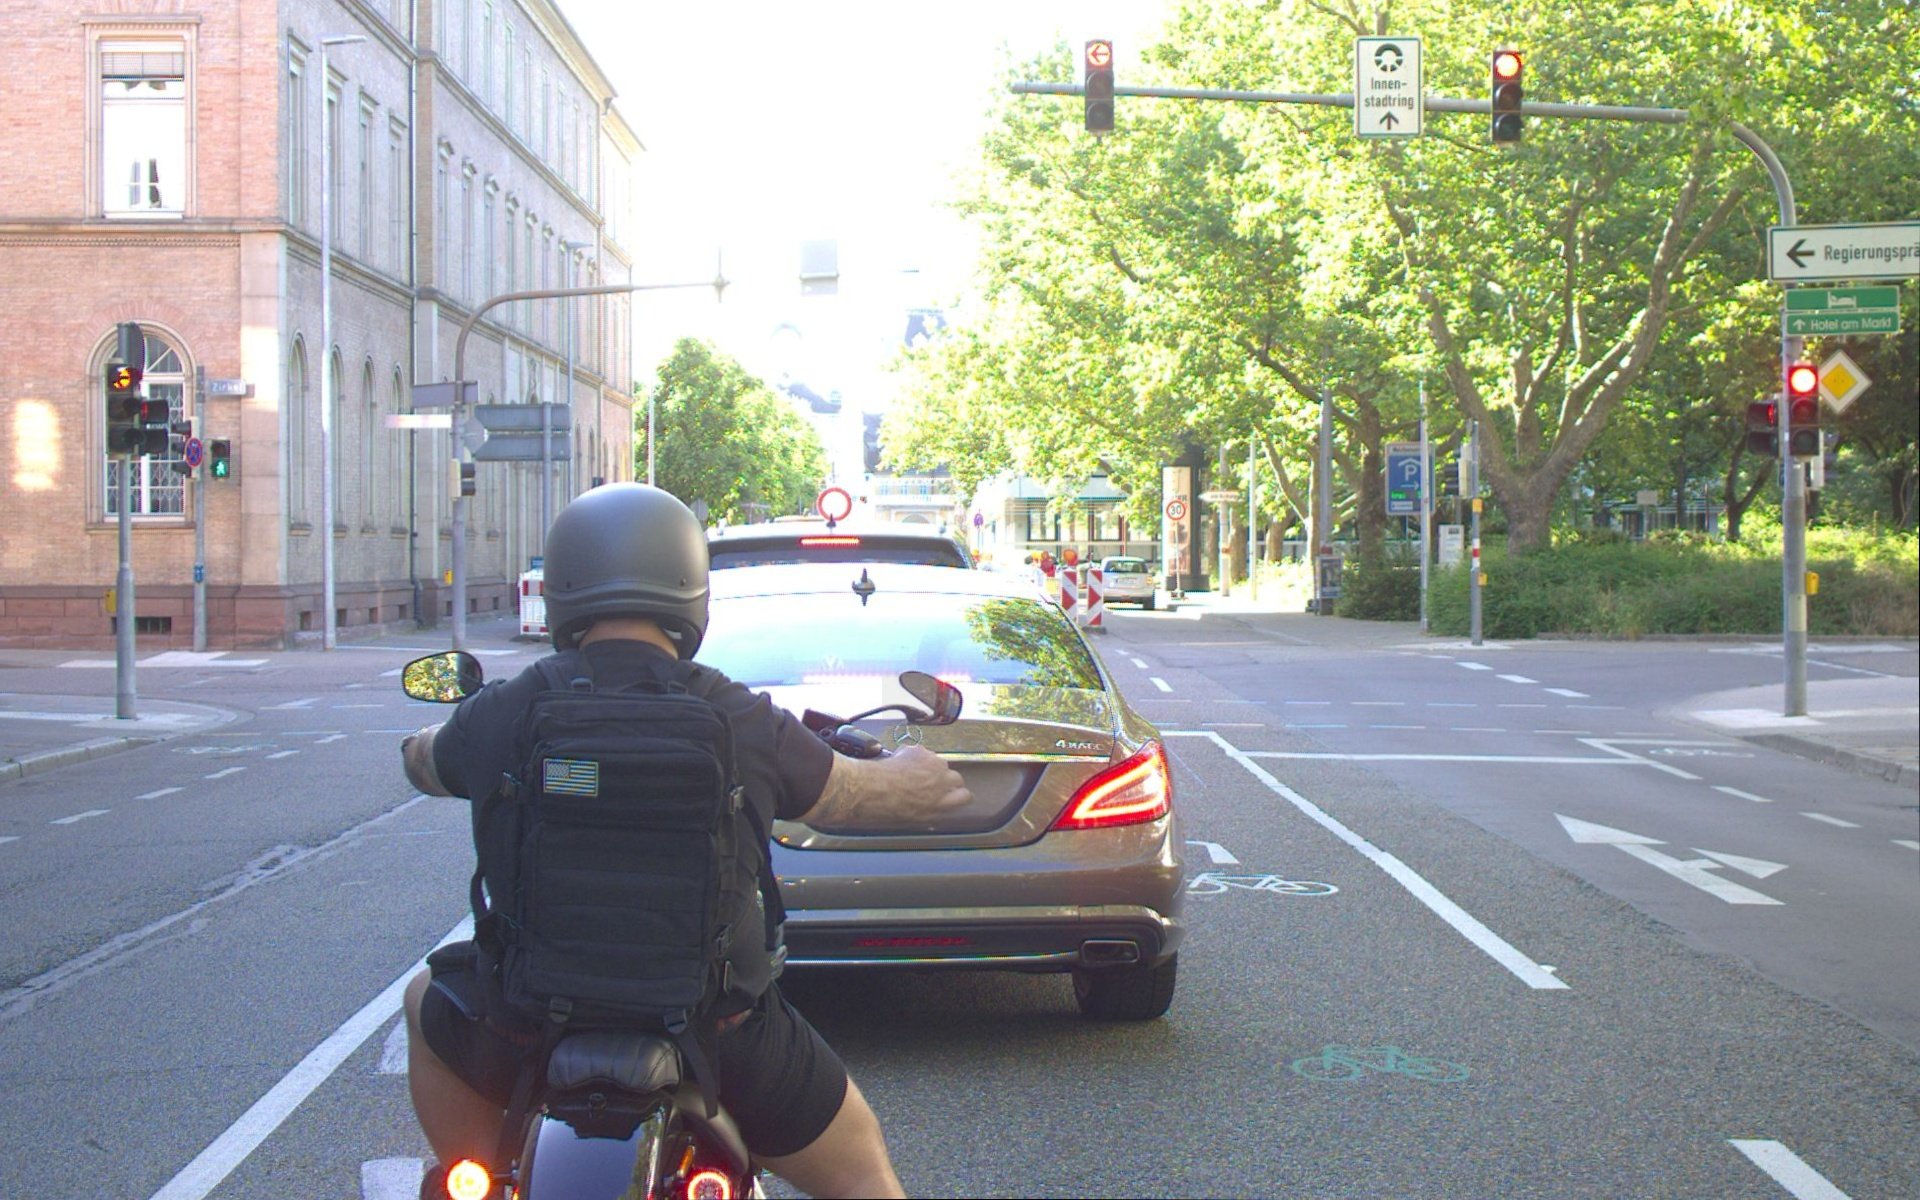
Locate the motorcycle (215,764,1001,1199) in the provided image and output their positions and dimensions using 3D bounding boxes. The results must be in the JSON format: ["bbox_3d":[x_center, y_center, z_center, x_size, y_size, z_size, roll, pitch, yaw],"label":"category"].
[{"bbox_3d":[-0.457,0.884,5.568,0.989,1.075,2.452,0,1,-1],"label":"motorcycle"}]

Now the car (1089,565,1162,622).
[{"bbox_3d":[4.552,-0.198,94.969,1.821,1.475,3.908,-1,1,0],"label":"car"}]

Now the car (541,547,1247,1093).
[{"bbox_3d":[-0.433,0.562,11.604,1.945,1.468,4.363,0,1,-7],"label":"car"}]

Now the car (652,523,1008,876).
[{"bbox_3d":[-0.639,0.412,17.769,1.612,1.602,4.329,0,1,-1],"label":"car"}]

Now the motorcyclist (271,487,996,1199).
[{"bbox_3d":[-0.453,0.629,5.409,0.989,1.591,1.404,0,1,-1],"label":"motorcyclist"}]
